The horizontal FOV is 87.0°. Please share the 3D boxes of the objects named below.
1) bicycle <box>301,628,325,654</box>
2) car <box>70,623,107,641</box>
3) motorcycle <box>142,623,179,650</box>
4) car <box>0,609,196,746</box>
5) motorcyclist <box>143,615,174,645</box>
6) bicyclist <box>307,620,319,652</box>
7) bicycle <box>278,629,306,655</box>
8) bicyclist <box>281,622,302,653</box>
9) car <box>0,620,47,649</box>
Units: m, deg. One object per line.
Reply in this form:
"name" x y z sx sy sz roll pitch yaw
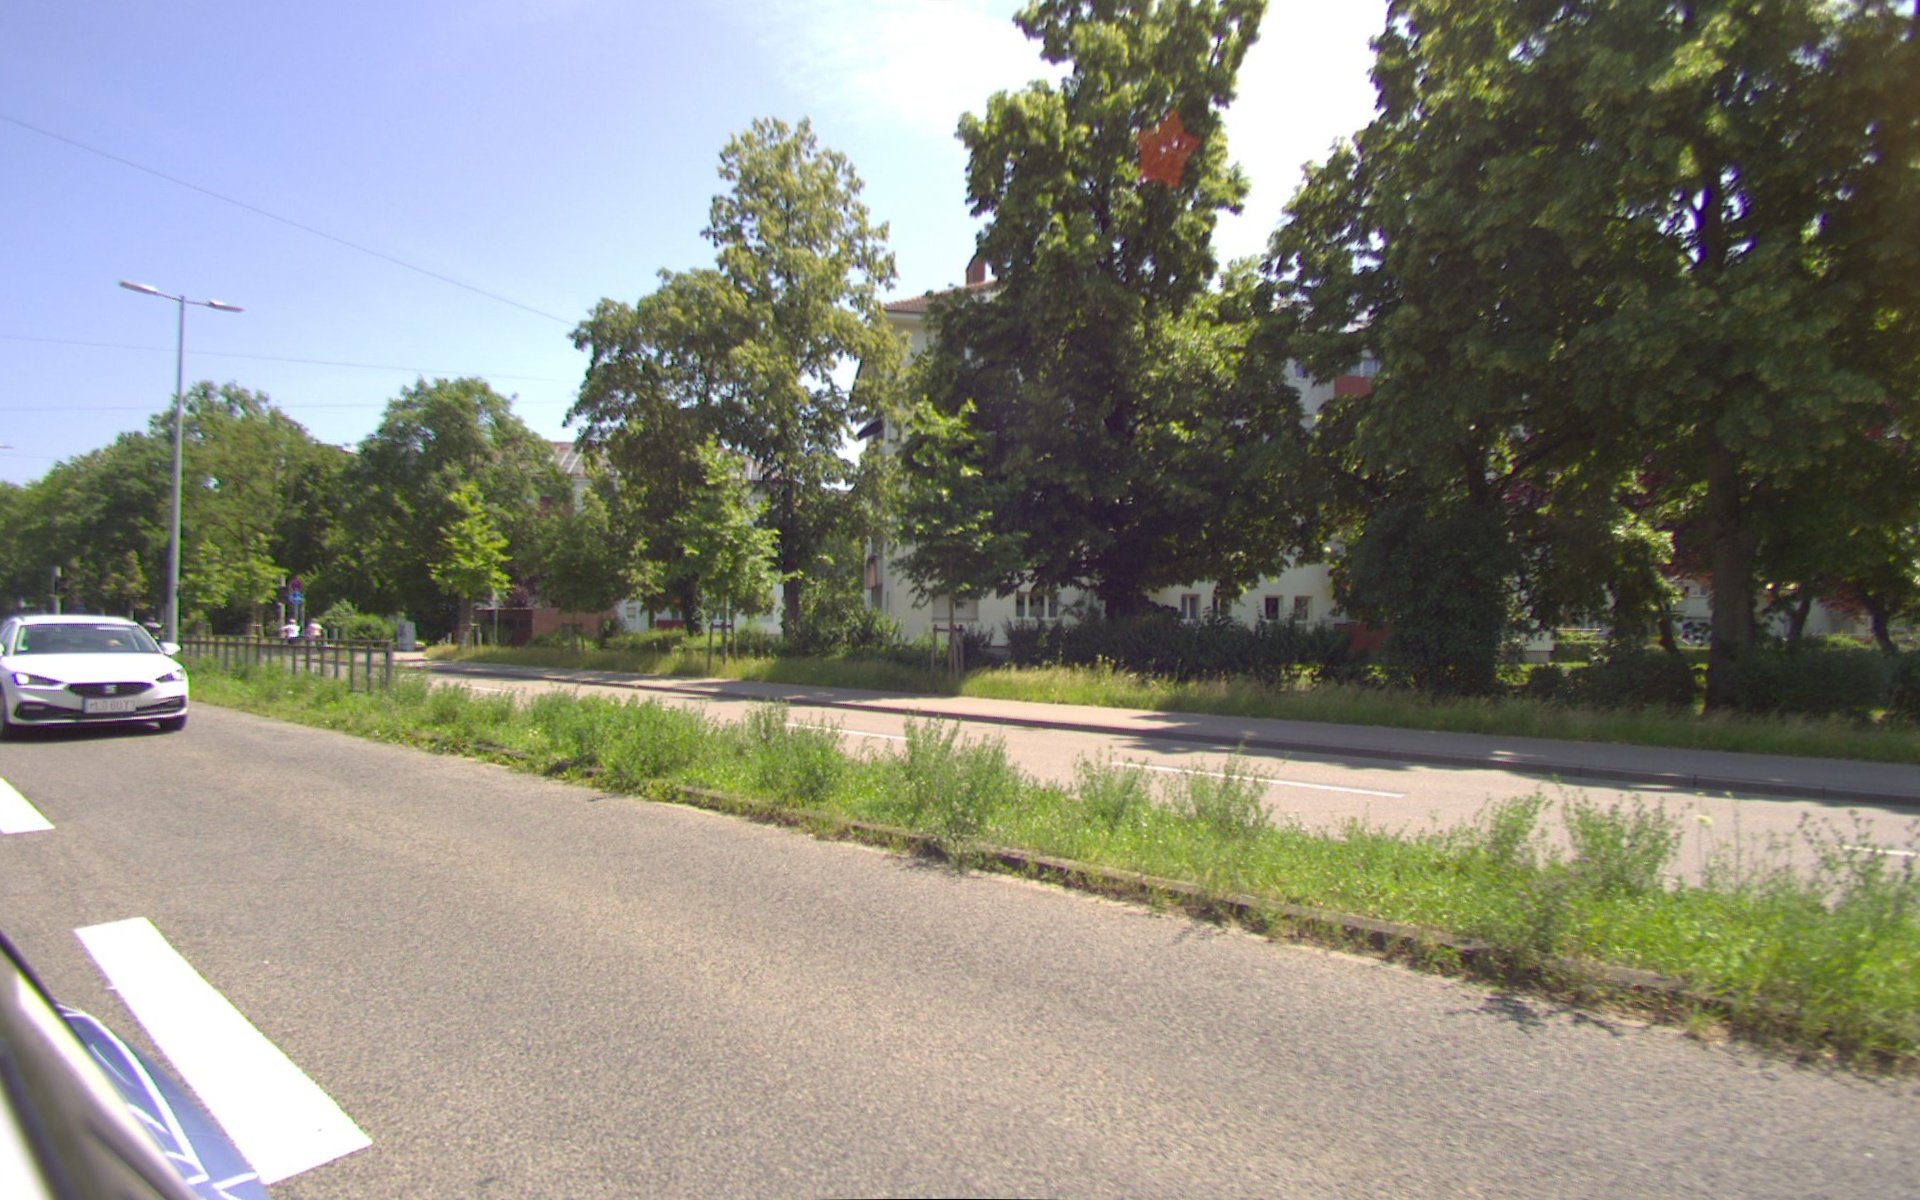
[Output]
"bicycle" -28.642 1.822 44.823 1.379 1.103 0.548 0 0 42
"car" -81.040 2.958 94.129 3.997 1.597 1.973 -1 -3 40
"motorcycle" -38.592 1.751 48.847 2.391 1.309 0.797 -1 -3 38
"car" -11.442 0.869 12.999 4.108 1.479 1.750 -1 -1 40
"motorcyclist" -38.845 1.440 49.024 1.509 1.414 0.730 -1 -2 35
"bicyclist" -28.629 1.579 44.792 0.440 1.402 0.353 -1 -1 43
"bicycle" -29.191 1.831 44.246 1.614 1.142 0.582 -1 -3 41
"bicyclist" -29.305 1.627 44.332 0.755 1.356 0.539 -1 -3 40
"car" -50.738 1.848 54.527 4.158 1.555 1.738 -1 -3 41
